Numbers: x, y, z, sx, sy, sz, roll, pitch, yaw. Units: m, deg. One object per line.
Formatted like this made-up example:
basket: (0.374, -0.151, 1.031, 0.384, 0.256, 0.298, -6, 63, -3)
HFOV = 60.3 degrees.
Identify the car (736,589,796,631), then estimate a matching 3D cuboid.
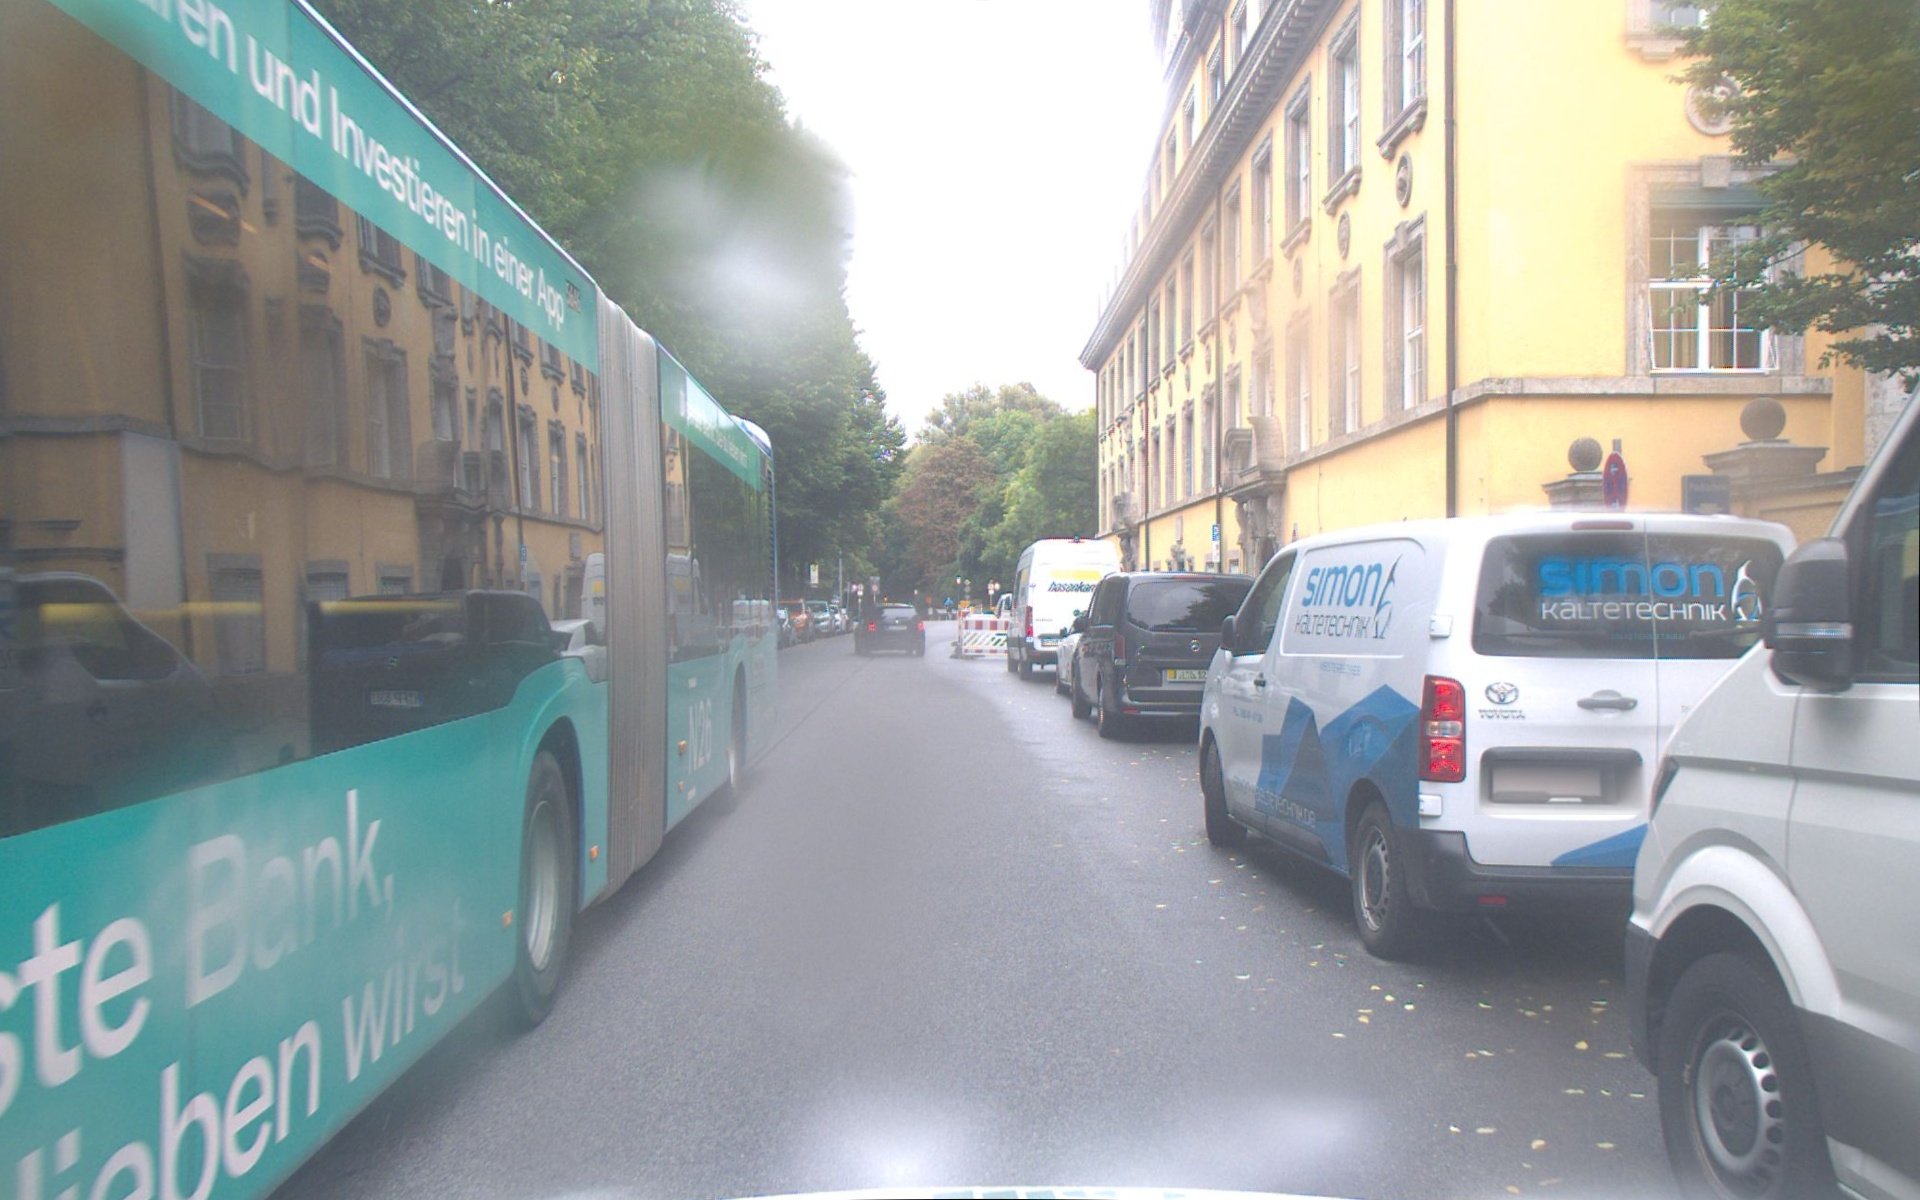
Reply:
car: (-6.861, 0.342, 58.803, 1.692, 1.447, 4.250, 0, 0, -1)

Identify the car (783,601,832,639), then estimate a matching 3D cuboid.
car: (-6.747, 0.861, 73.394, 1.778, 1.629, 4.513, 0, 0, -1)

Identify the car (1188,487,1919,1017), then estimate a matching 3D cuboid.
car: (2.643, 0.583, 8.719, 1.973, 1.940, 5.161, 1, 0, -2)

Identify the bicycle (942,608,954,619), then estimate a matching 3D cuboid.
bicycle: (-0.953, 1.045, 131.279, 0.667, 0.844, 2.105, 0, -1, -9)

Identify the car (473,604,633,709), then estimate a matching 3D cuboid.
car: (-6.260, 0.834, 25.873, 1.638, 1.495, 4.102, 0, -1, -2)

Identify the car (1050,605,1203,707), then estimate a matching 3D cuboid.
car: (2.549, 0.840, 26.313, 1.833, 1.483, 4.253, 0, -1, -2)

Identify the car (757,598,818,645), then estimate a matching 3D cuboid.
car: (-6.702, 0.843, 64.772, 1.834, 1.758, 4.641, 0, 0, 1)

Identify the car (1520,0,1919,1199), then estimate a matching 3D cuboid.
car: (2.707, 0.198, 1.800, 2.053, 2.531, 5.737, 0, -1, -2)

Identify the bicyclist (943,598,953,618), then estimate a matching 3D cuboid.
bicyclist: (-0.957, 0.629, 131.262, 0.668, 1.530, 0.899, 0, 0, -9)

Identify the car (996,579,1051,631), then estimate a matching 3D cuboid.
car: (2.232, 0.222, 59.137, 1.704, 1.780, 4.354, 0, -1, -2)

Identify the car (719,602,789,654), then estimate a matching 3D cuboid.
car: (-6.577, 0.863, 53.196, 1.750, 1.602, 4.485, 0, 0, -1)

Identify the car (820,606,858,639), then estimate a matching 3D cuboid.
car: (-5.754, 1.077, 79.181, 1.545, 1.523, 4.198, 0, 0, 0)

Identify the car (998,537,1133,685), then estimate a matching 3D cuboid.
car: (2.037, 0.243, 34.329, 2.013, 2.720, 7.610, 0, -1, -2)

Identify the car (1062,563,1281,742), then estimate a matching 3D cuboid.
car: (2.421, 0.582, 20.186, 1.833, 1.902, 4.984, 0, -1, -2)

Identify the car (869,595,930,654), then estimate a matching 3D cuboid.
car: (-1.678, 0.680, 46.821, 1.545, 1.611, 4.044, 0, 0, 0)

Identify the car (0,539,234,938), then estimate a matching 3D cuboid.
car: (-5.489, 0.670, 8.400, 1.748, 1.910, 4.546, 0, -1, -2)

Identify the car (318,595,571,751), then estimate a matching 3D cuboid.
car: (-5.958, 0.785, 19.688, 1.748, 1.625, 4.582, 0, -1, -2)

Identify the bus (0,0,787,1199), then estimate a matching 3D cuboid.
bus: (-2.746, -0.182, 5.890, 2.801, 3.296, 18.418, 0, -1, -2)
